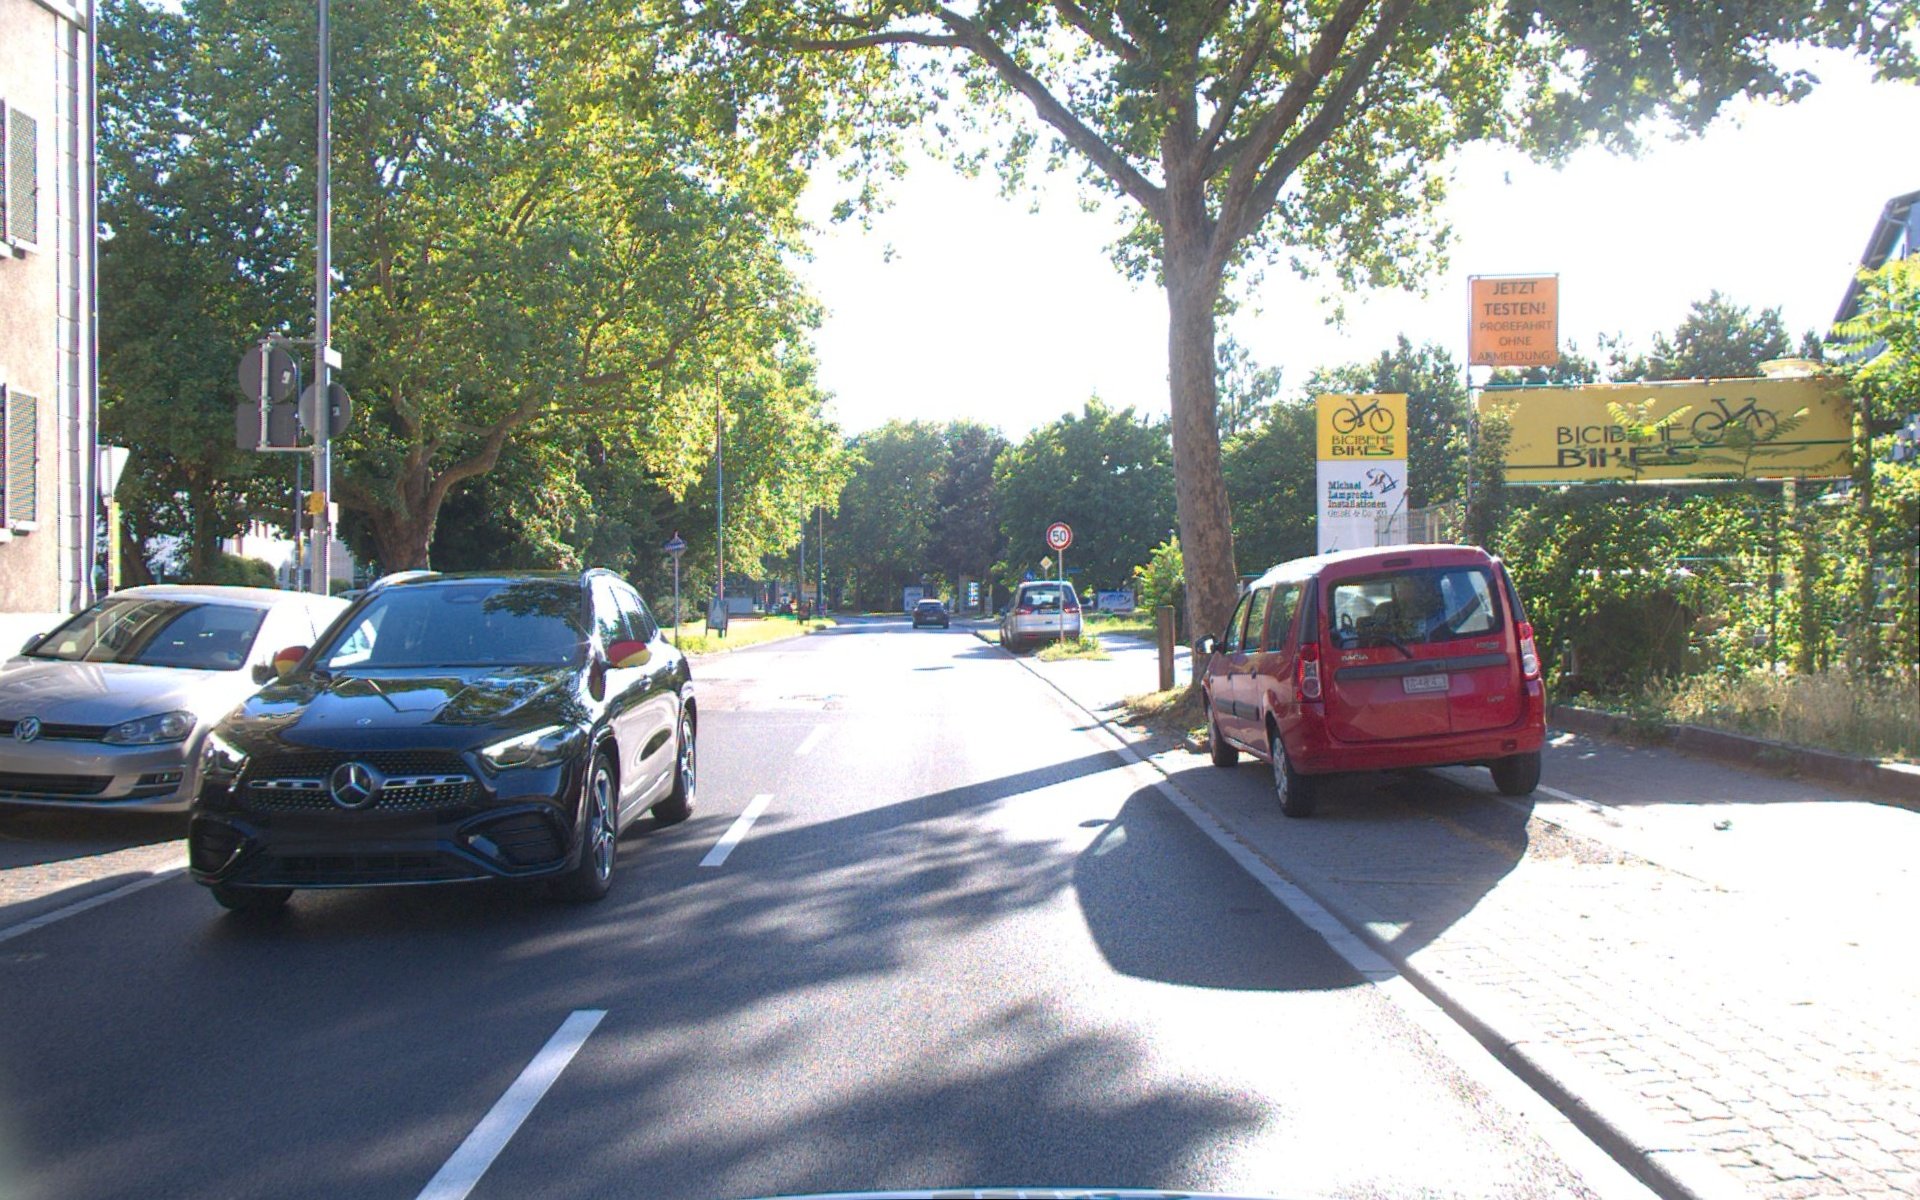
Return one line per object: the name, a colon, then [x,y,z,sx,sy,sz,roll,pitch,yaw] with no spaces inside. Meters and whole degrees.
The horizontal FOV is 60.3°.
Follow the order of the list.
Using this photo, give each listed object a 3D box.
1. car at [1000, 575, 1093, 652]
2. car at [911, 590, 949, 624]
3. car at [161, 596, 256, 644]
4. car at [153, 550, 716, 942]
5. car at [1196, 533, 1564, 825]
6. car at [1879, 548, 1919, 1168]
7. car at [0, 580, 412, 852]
car: [2.164,0.311,42.717,1.953,1.789,4.916,-2,0,-2]
car: [-1.489,0.328,82.871,1.802,1.633,3.862,-1,0,-1]
car: [-29.321,0.749,64.659,1.855,1.771,4.173,-2,0,-2]
car: [-2.524,0.605,9.055,1.858,1.618,4.068,-1,0,-2]
car: [2.831,0.461,12.093,1.565,1.719,4.336,-1,0,0]
car: [3.073,0.597,1.707,1.665,1.506,4.697,-3,0,1]
car: [-5.326,0.645,11.438,1.725,1.509,4.107,2,0,-1]
